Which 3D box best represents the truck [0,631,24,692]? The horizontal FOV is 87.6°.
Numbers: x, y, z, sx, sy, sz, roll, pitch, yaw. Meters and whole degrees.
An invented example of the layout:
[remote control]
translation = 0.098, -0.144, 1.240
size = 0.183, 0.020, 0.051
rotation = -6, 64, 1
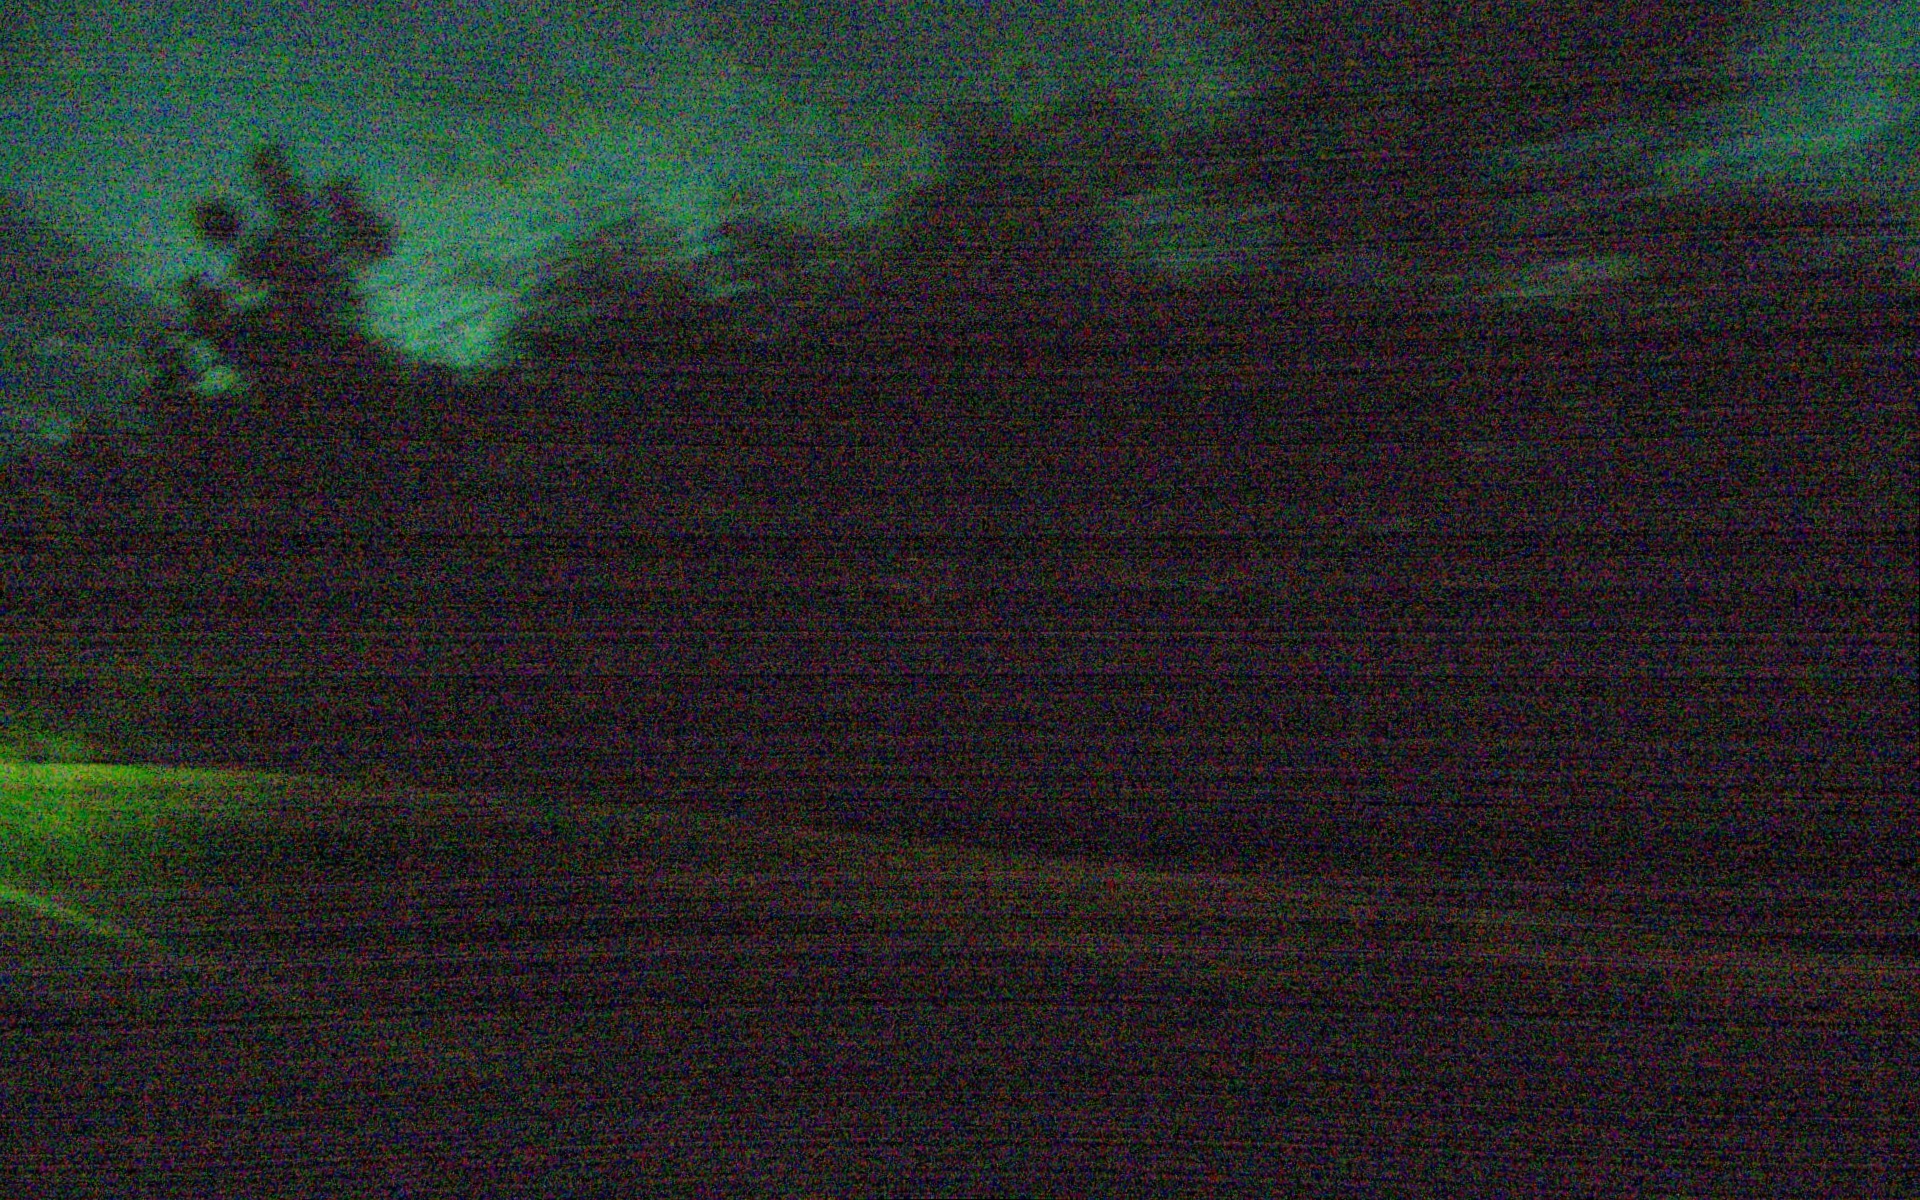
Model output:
[truck]
translation = -40.119, 2.466, 40.187
size = 7.646, 2.311, 2.371
rotation = -3, -4, 37
